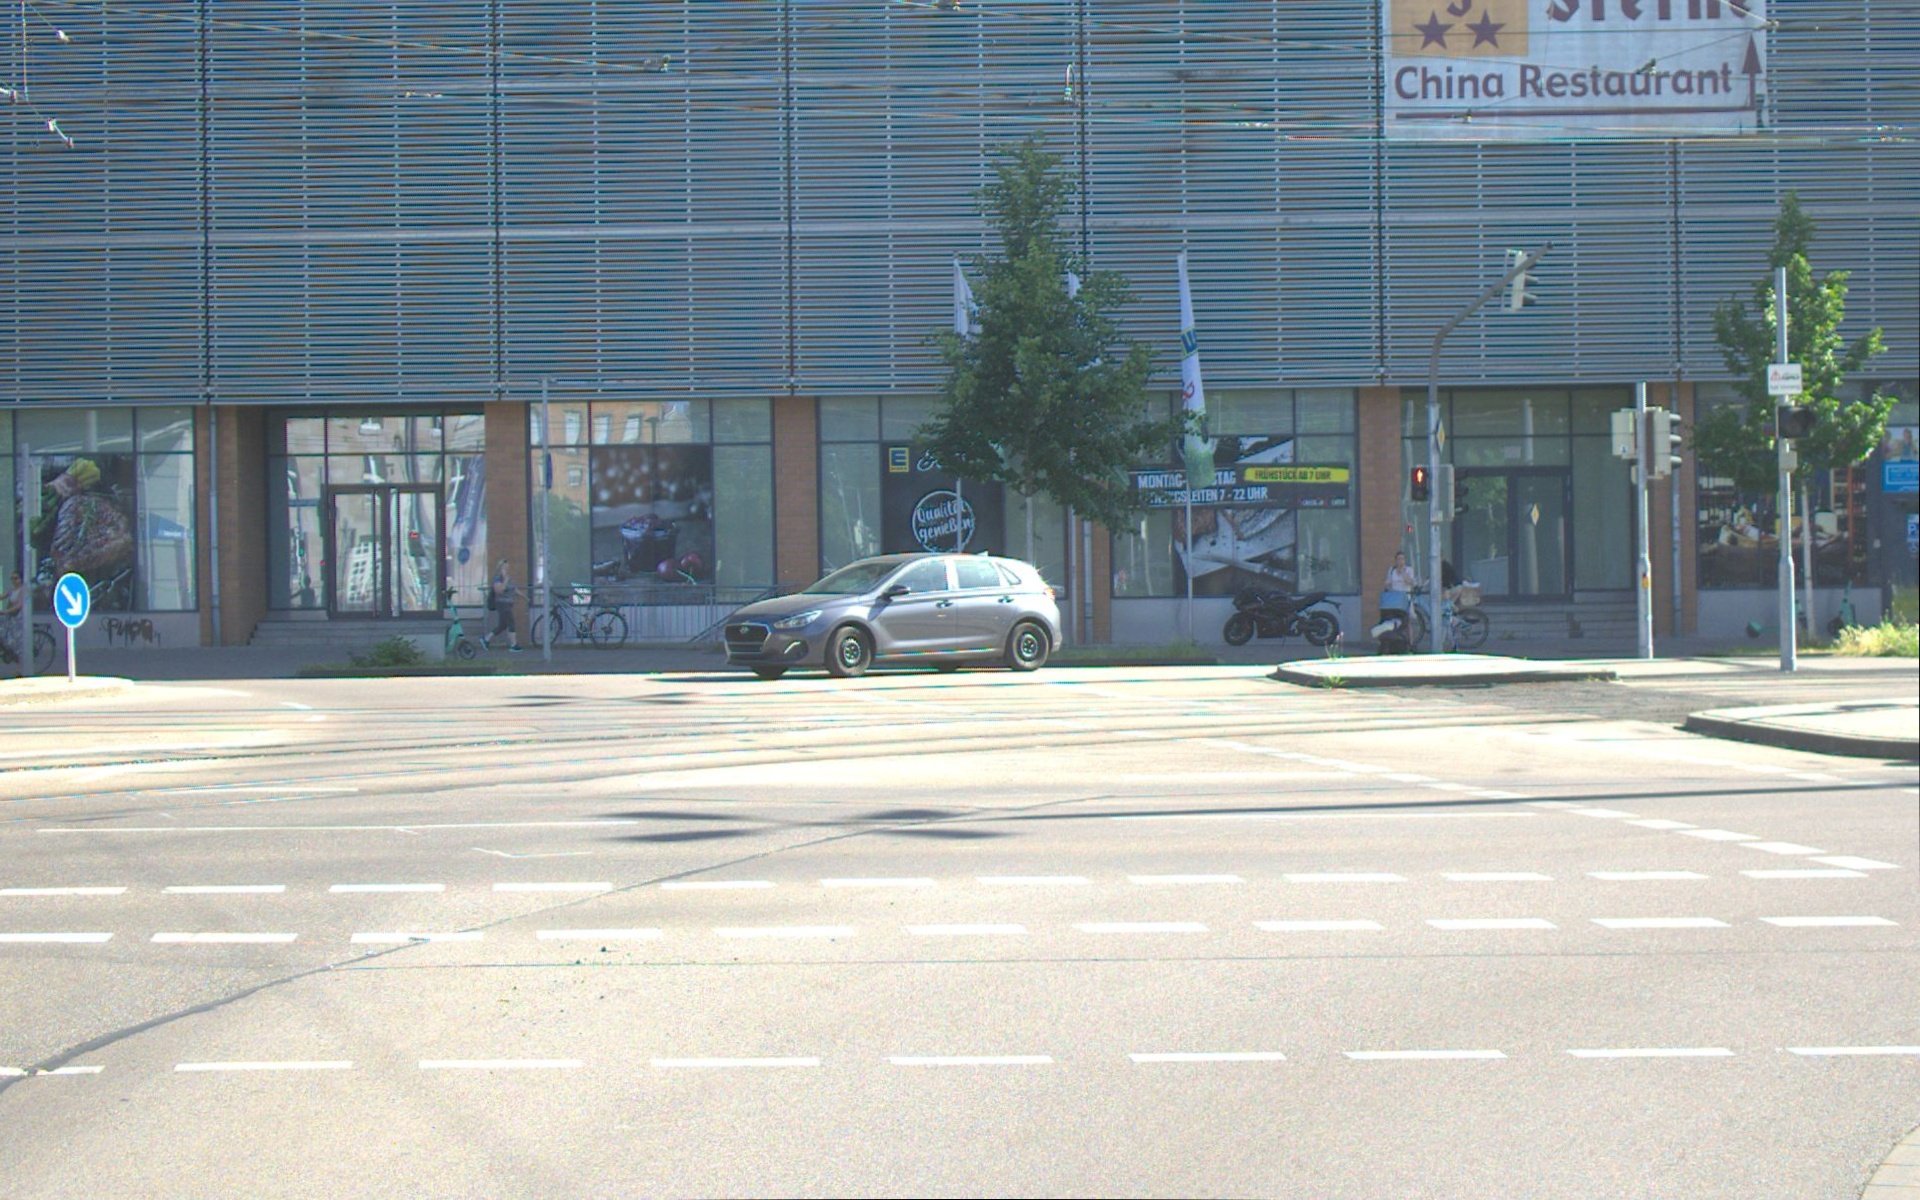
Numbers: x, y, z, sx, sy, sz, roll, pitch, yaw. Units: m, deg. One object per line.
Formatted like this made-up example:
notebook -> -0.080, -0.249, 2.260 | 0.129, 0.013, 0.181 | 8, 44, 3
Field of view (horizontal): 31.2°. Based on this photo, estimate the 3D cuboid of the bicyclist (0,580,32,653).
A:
bicyclist -> -15.135, 0.261, 54.717 | 0.562, 1.136, 0.560 | -1, 0, -33

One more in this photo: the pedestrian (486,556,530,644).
pedestrian -> -7.833, -0.009, 59.592 | 0.647, 1.514, 0.491 | -1, 0, 4

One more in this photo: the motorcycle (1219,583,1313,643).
motorcycle -> 5.386, 0.231, 60.524 | 1.614, 1.035, 0.402 | -1, 0, 1

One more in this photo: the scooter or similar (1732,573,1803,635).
scooter or similar -> 14.480, 0.076, 61.658 | 1.202, 1.099, 0.277 | 1, 0, 2

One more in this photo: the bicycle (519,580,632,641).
bicycle -> -6.761, 0.181, 60.494 | 1.944, 1.035, 0.573 | -1, 0, -4

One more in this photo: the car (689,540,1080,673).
car -> -0.879, 0.050, 41.224 | 4.296, 1.494, 2.000 | -1, 1, -36

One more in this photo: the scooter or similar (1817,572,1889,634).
scooter or similar -> 16.052, 0.060, 61.786 | 1.202, 1.099, 0.277 | 1, 0, 2

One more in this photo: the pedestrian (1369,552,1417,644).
pedestrian -> 7.003, -0.034, 55.535 | 0.739, 1.482, 0.490 | 0, 0, 10

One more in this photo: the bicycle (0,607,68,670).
bicycle -> -15.254, 0.618, 54.636 | 2.015, 0.982, 0.560 | -1, 0, -33

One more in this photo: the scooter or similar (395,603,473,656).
scooter or similar -> -8.612, 0.487, 56.321 | 1.223, 0.848, 0.301 | -1, 0, -3

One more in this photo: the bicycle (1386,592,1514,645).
bicycle -> 8.286, 0.315, 58.156 | 2.041, 0.864, 0.682 | -1, 0, -1

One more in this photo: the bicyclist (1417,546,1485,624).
bicyclist -> 8.307, -0.255, 58.158 | 1.036, 1.314, 0.682 | -1, 0, -1
